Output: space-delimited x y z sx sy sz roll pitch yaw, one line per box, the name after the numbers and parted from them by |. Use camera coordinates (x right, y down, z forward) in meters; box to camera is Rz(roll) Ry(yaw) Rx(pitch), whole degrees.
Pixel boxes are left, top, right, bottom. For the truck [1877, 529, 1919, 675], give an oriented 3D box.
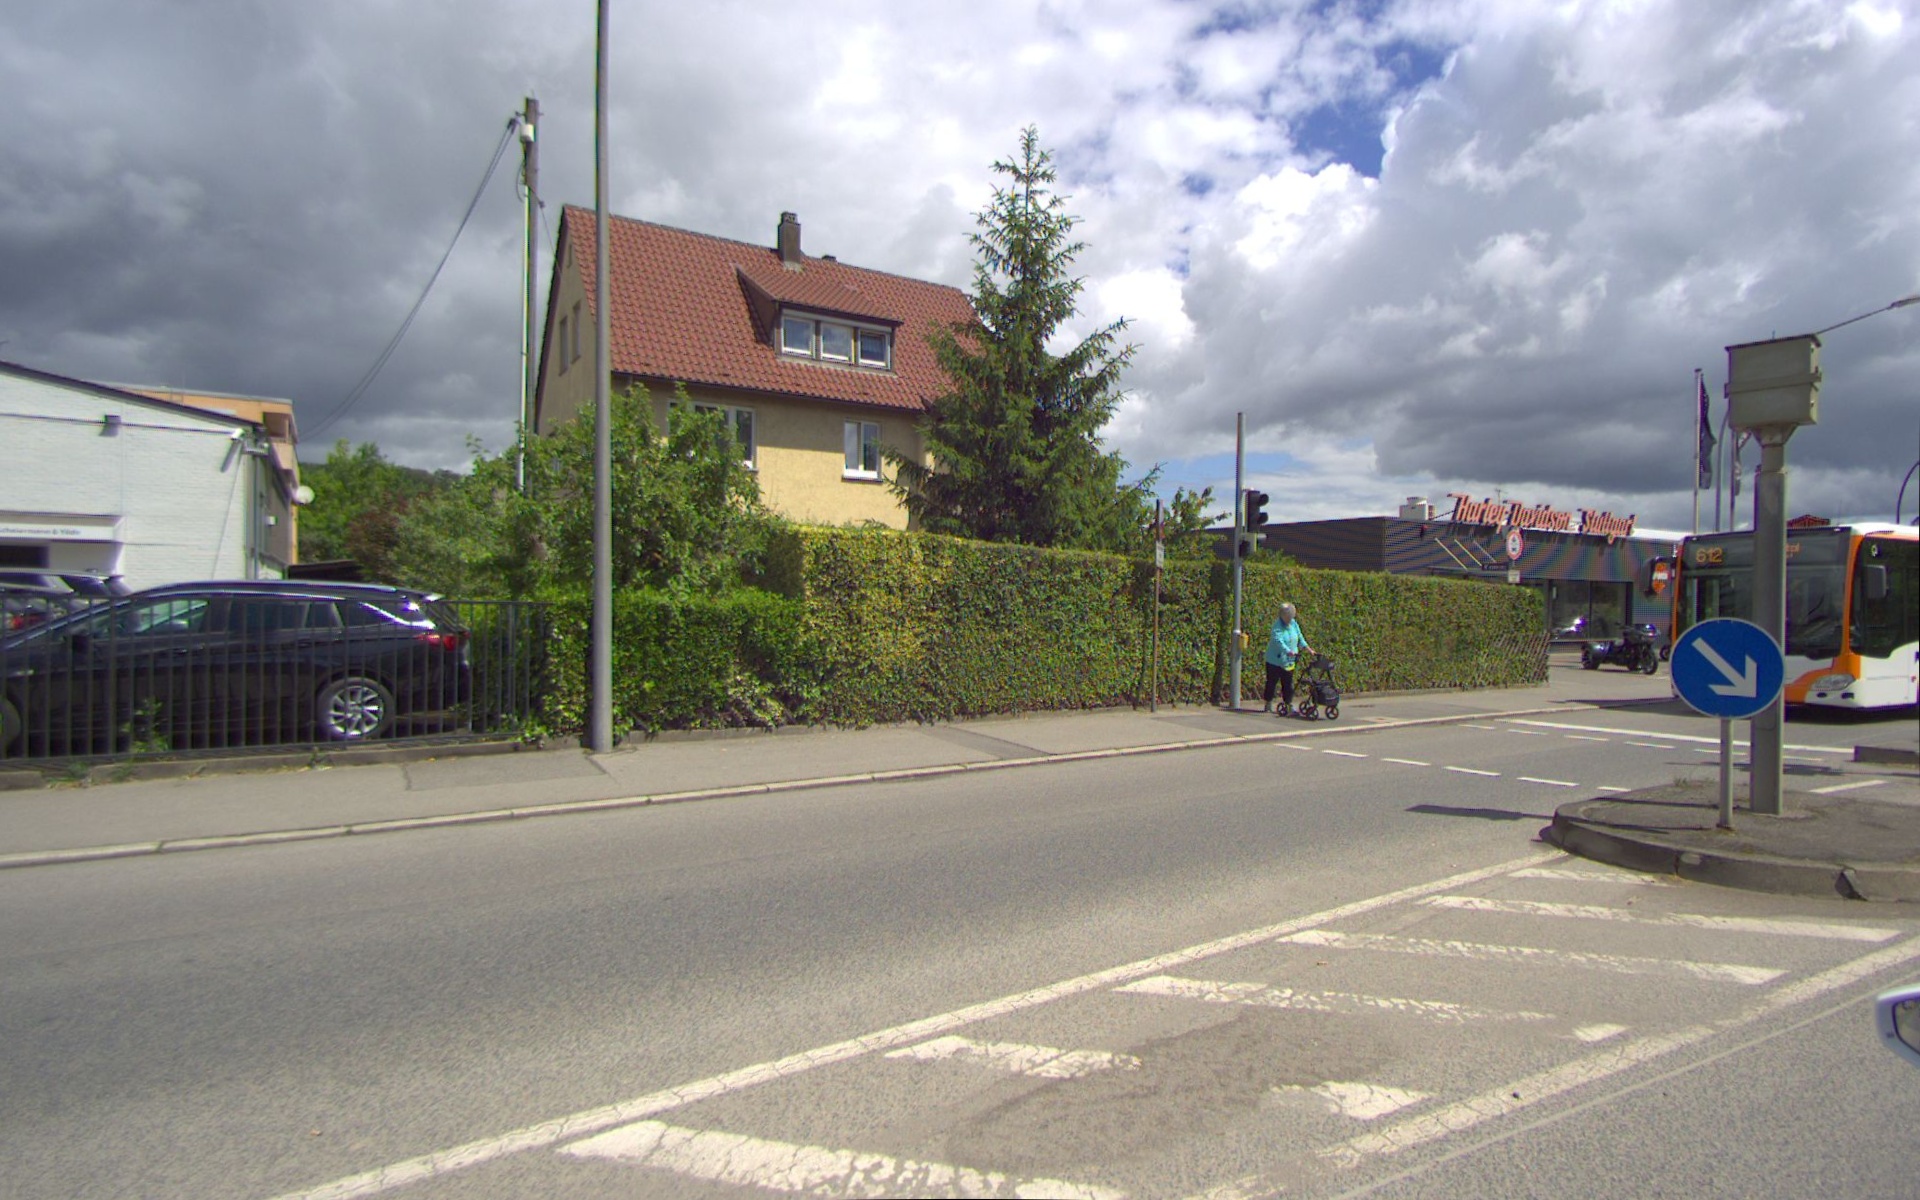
31.184 0.165 31.157 9.068 4.186 2.410 1 2 -38 | truck

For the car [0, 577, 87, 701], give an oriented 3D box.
-14.183 0.498 13.170 3.963 1.639 1.763 1 -1 -37 | car

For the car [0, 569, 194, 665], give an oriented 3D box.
-16.462 0.309 18.279 3.963 1.639 1.763 1 -1 -37 | car

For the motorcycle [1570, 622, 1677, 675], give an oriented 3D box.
17.565 1.258 26.677 0.909 1.234 2.504 2 0 -8 | motorcycle

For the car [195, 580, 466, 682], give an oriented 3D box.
-11.238 0.527 18.064 3.963 1.639 1.763 1 -1 -37 | car

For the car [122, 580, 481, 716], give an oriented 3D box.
-8.990 0.616 14.022 3.959 1.639 1.765 1 -1 -34 | car

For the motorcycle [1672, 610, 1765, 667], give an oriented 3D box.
24.258 1.204 32.188 1.023 1.706 2.306 2 0 -8 | motorcycle

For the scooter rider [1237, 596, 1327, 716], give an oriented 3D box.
4.516 0.756 14.101 0.787 1.611 0.873 1 1 -31 | scooter rider

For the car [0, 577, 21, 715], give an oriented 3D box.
-13.295 0.521 11.162 3.963 1.639 1.763 1 -1 -37 | car

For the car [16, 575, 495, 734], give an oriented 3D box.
-7.919 0.556 11.744 4.224 1.527 2.140 1 0 -35 | car

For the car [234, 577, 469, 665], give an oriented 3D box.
-12.384 0.427 20.539 3.963 1.639 1.763 1 -1 -37 | car

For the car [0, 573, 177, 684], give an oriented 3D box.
-14.764 0.428 15.653 3.963 1.639 1.763 1 -1 -37 | car

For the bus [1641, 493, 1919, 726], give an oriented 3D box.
17.258 0.236 18.342 11.971 3.309 2.767 1 -1 -28 | bus

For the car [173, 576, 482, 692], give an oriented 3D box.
-9.933 0.514 16.016 3.959 1.639 1.765 1 -1 -34 | car

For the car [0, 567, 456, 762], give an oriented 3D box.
-7.193 0.523 9.377 4.224 1.527 2.140 1 -1 -35 | car

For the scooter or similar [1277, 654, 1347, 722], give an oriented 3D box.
4.767 1.178 13.614 0.652 0.843 0.608 1 2 -31 | scooter or similar
